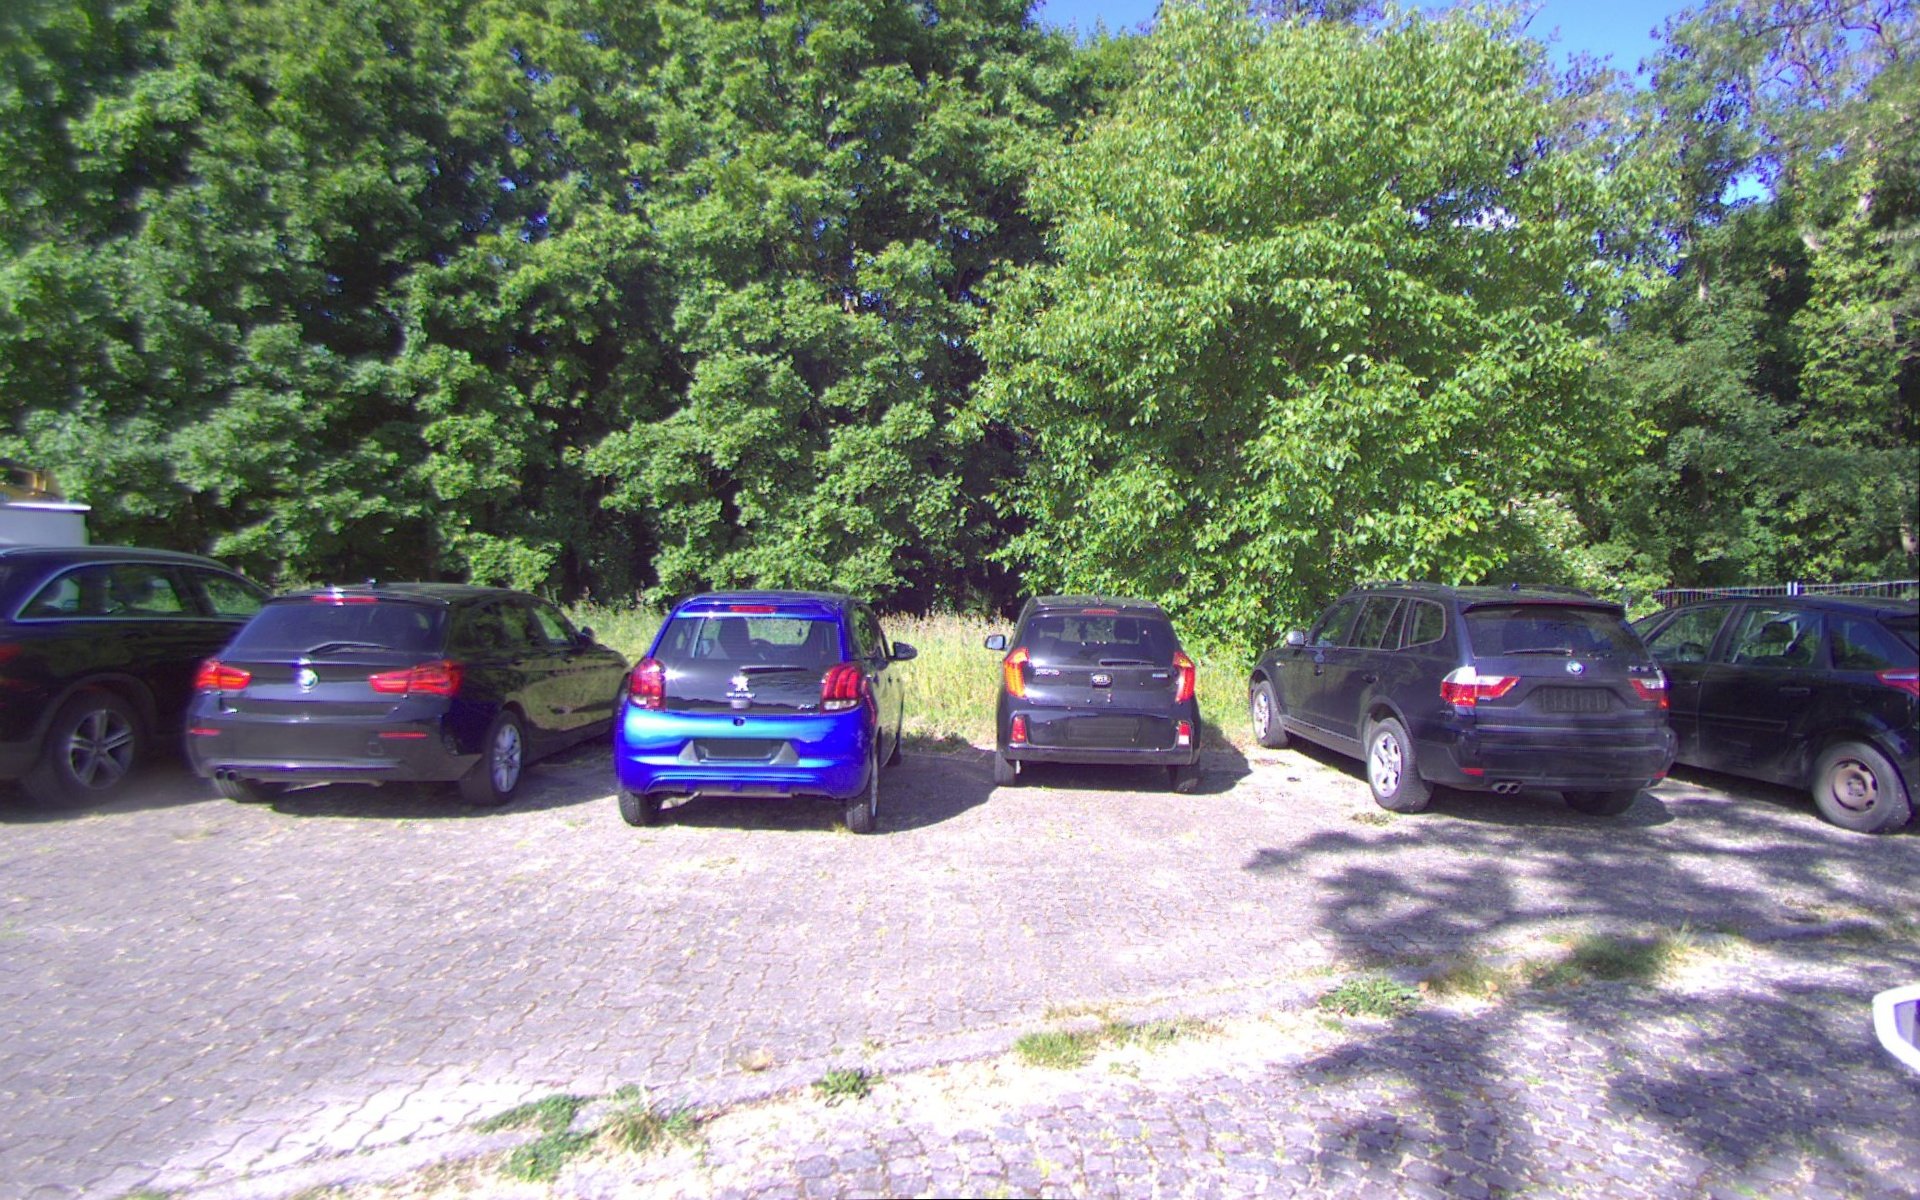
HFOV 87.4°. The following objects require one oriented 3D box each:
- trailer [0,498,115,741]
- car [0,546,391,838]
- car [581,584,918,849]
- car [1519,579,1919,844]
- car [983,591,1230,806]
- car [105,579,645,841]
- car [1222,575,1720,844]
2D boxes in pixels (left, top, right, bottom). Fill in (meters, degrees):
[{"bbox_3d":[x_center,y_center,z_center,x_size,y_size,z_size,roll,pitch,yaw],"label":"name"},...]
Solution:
[{"bbox_3d":[-9.103,0.147,8.304,1.788,2.078,2.850,2,1,0],"label":"trailer"},{"bbox_3d":[-6.289,0.467,7.344,1.932,1.611,4.130,2,1,-1],"label":"car"},{"bbox_3d":[-1.285,0.645,7.657,1.750,1.478,3.789,2,1,0],"label":"car"},{"bbox_3d":[7.028,0.707,8.569,1.795,1.611,4.268,0,3,-6],"label":"car"},{"bbox_3d":[1.181,0.686,9.055,1.709,1.470,3.726,2,1,4],"label":"car"},{"bbox_3d":[-3.871,0.605,7.528,1.858,1.430,3.789,2,1,-1],"label":"car"},{"bbox_3d":[3.854,0.666,8.602,1.844,1.653,4.270,2,2,-4],"label":"car"}]
